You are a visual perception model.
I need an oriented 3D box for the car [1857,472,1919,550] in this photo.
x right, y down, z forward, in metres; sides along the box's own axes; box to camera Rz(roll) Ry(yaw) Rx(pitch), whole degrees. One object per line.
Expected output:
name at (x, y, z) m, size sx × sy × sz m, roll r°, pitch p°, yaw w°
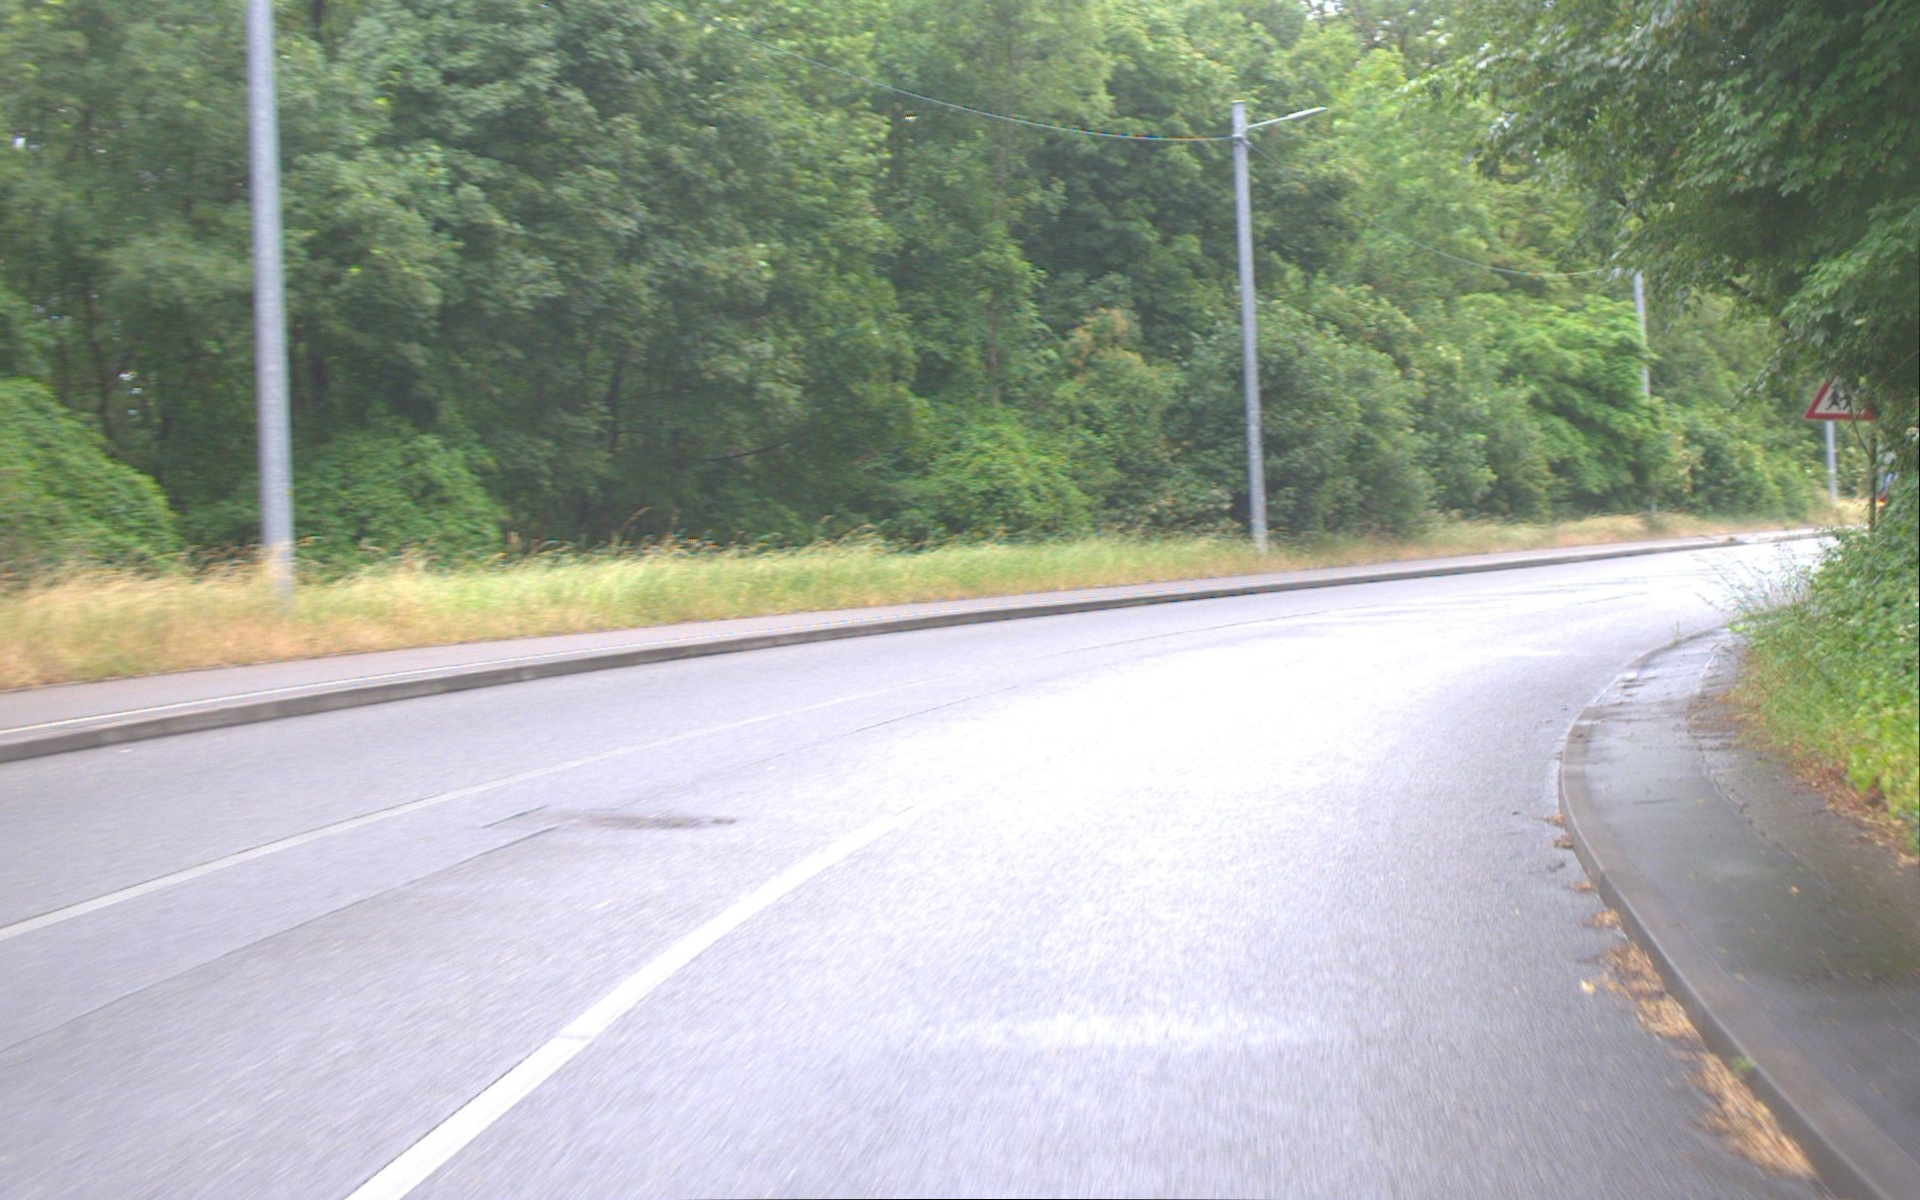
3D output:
car at (20.223, -1.905, 73.026) m, size 1.669 × 1.588 × 3.678 m, roll -1°, pitch 1°, yaw 24°
